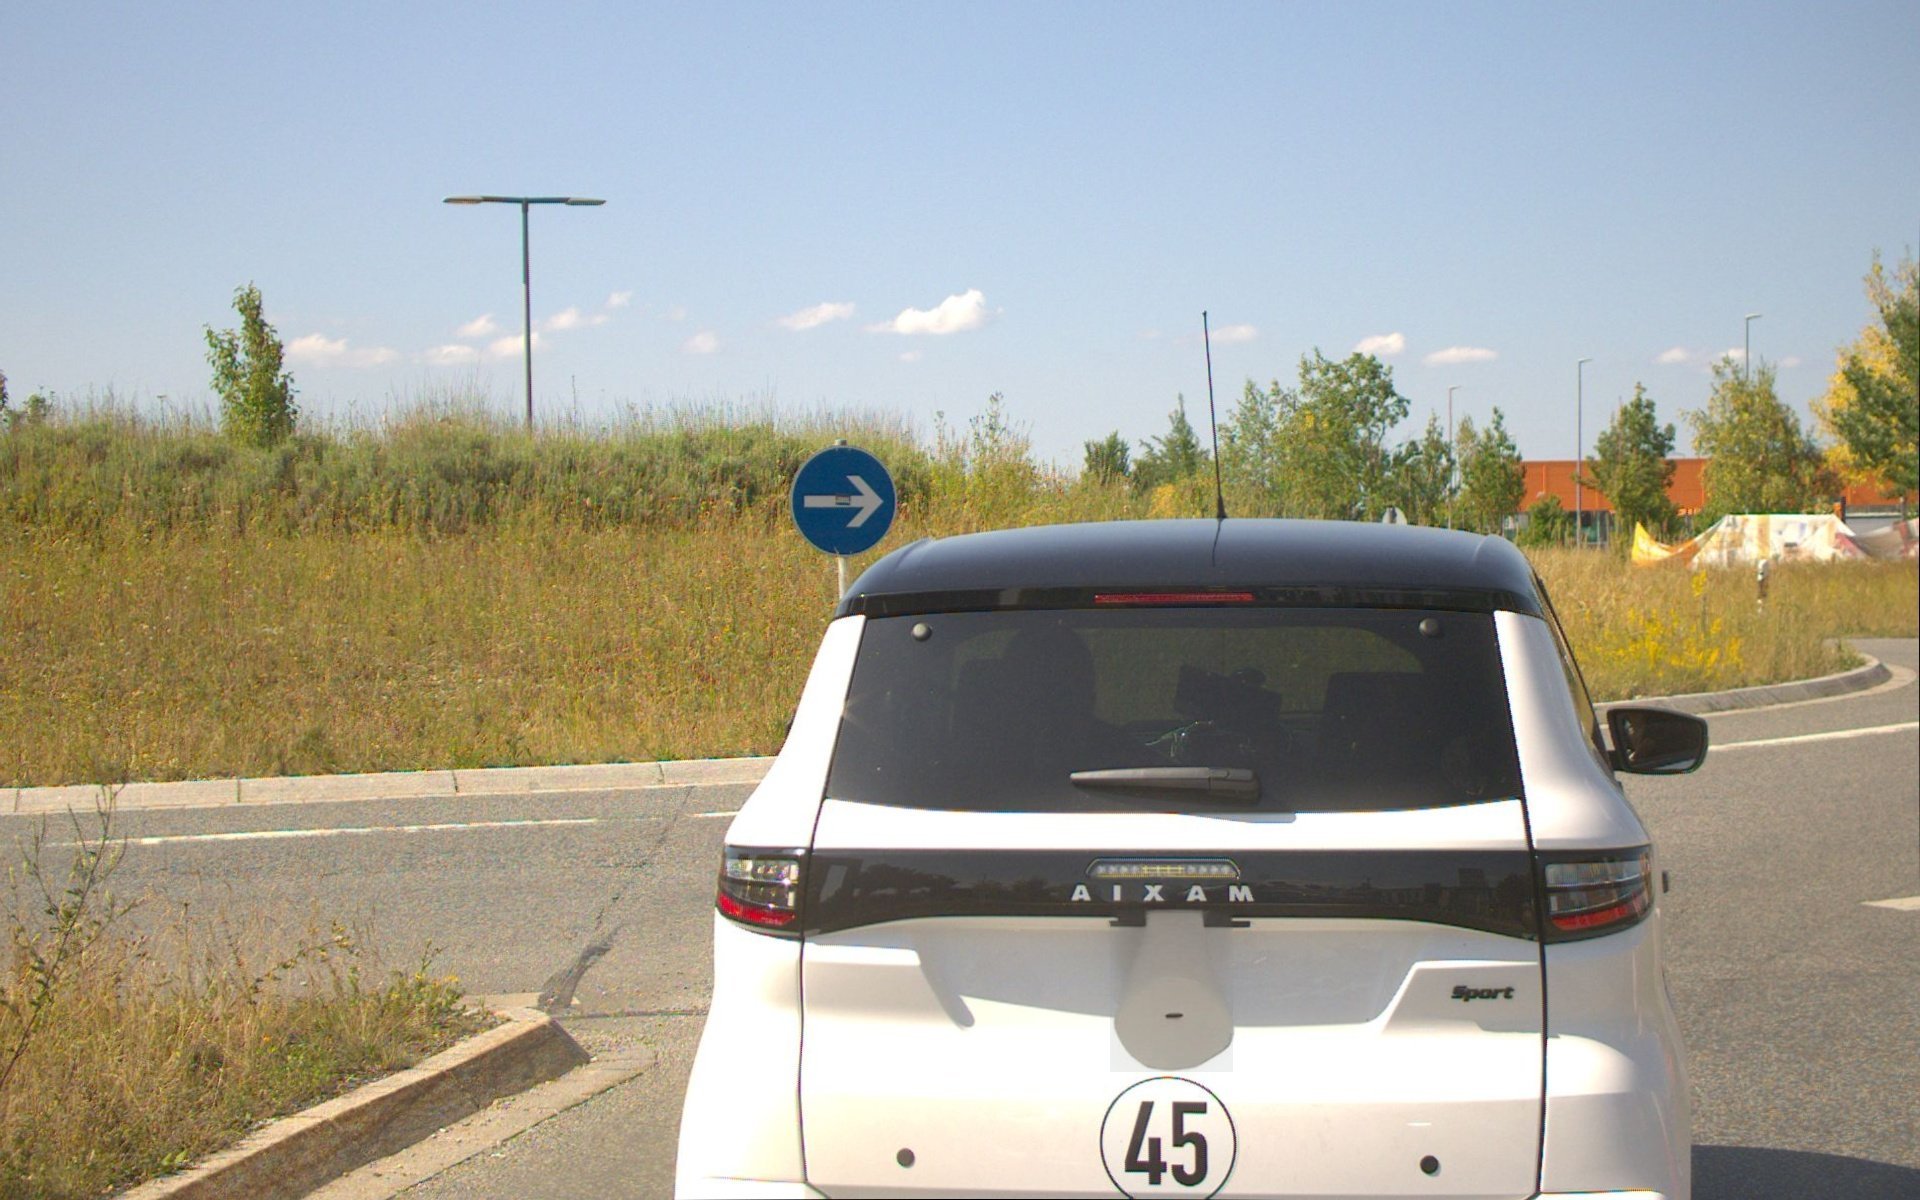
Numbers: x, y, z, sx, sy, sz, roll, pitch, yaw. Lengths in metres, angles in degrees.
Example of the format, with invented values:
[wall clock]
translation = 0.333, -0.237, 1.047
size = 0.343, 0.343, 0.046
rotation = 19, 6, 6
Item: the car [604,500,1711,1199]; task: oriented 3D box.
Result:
[car]
translation = 0.511, 0.570, 6.358
size = 1.510, 1.435, 3.350
rotation = 0, 3, 9
